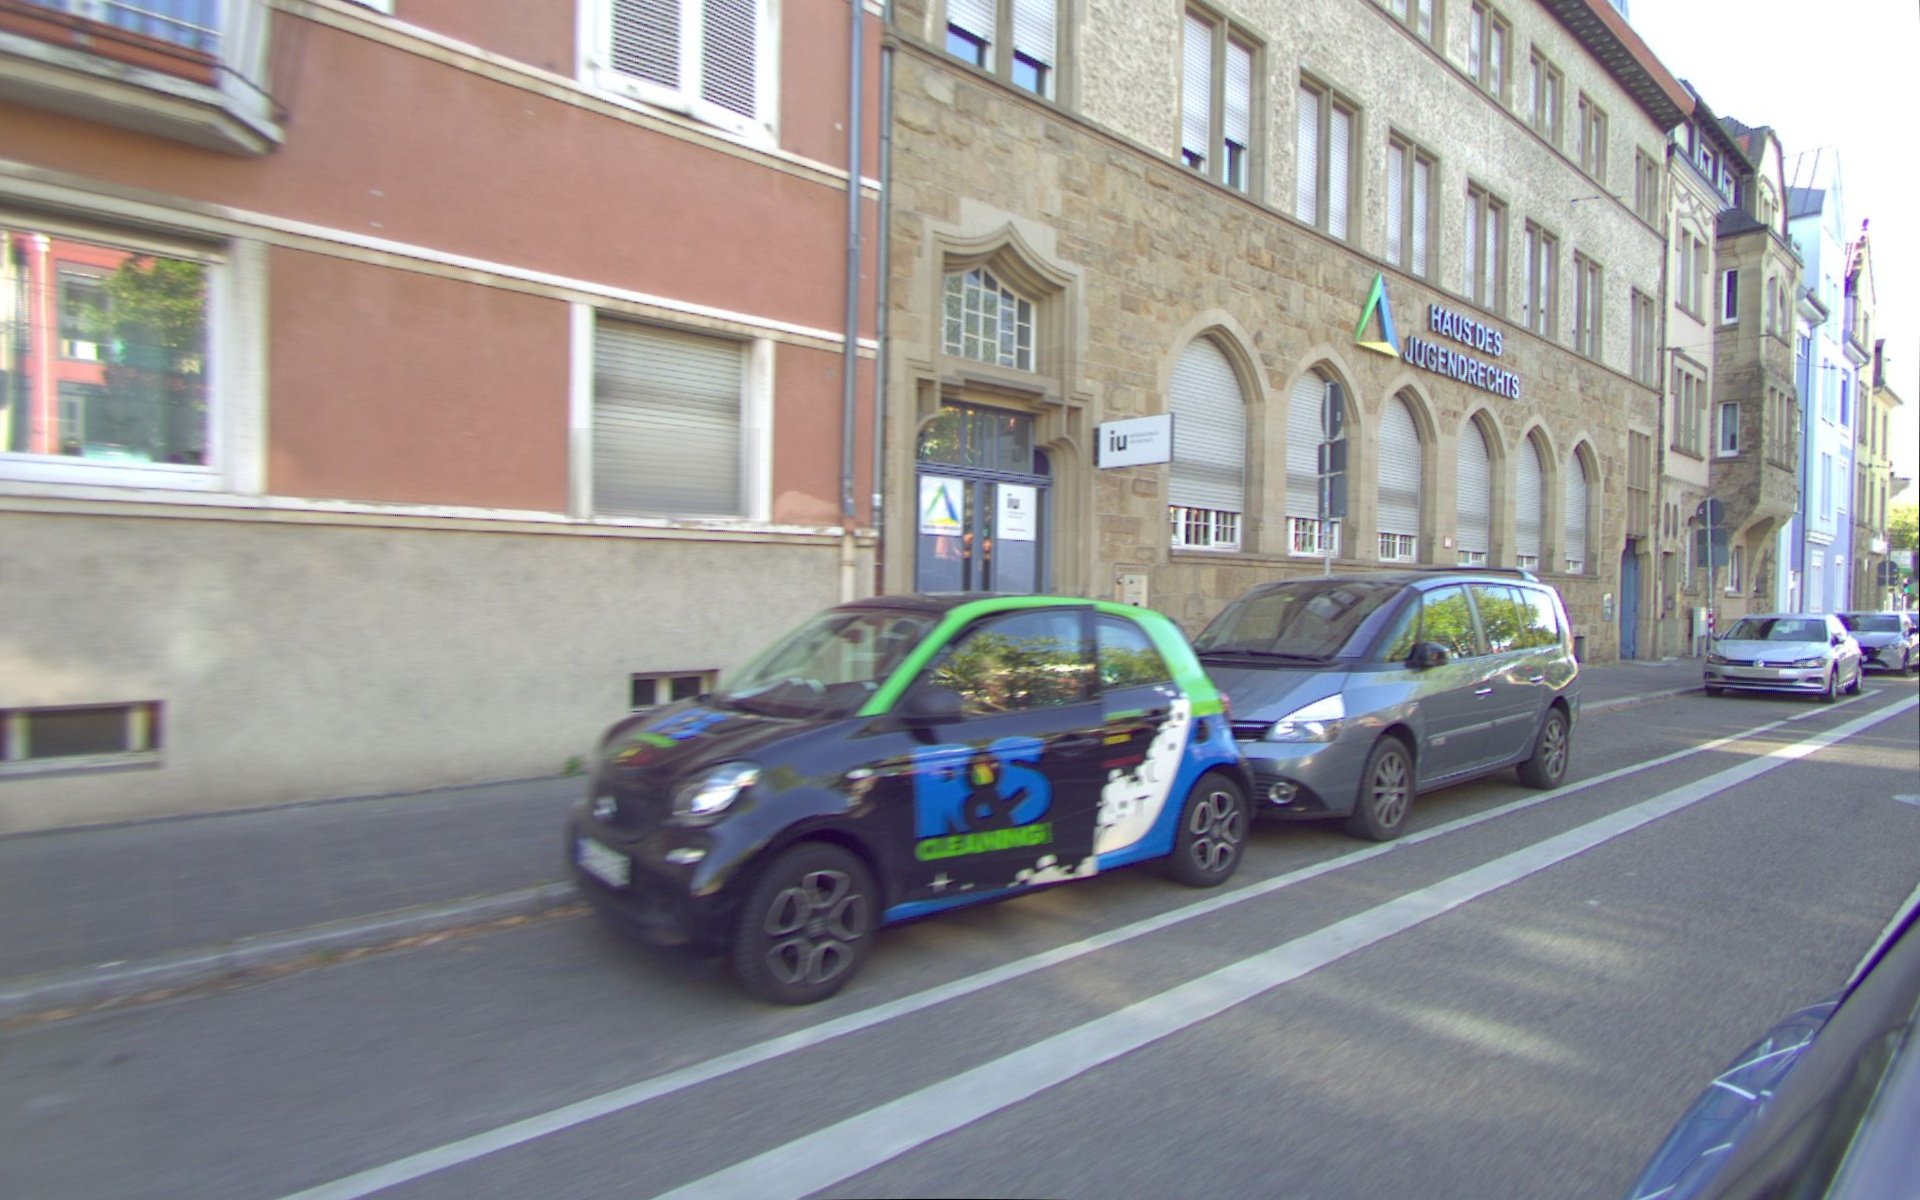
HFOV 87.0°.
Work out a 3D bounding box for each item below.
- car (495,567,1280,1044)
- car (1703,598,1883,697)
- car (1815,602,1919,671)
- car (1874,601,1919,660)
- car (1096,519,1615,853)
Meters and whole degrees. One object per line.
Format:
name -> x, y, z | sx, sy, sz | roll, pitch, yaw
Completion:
car -> -0.160, 0.668, 5.059 | 3.650, 1.531, 1.635 | 0, -1, -39
car -> 14.547, 0.745, 17.596 | 4.151, 1.520, 1.717 | 0, -1, -40
car -> 22.076, 0.810, 24.198 | 4.120, 1.520, 1.756 | 0, -1, -39
car -> 26.338, 0.796, 27.585 | 3.930, 1.501, 1.658 | 0, 0, -41
car -> 3.312, 0.478, 7.901 | 4.730, 1.879, 1.756 | 0, 0, -41
